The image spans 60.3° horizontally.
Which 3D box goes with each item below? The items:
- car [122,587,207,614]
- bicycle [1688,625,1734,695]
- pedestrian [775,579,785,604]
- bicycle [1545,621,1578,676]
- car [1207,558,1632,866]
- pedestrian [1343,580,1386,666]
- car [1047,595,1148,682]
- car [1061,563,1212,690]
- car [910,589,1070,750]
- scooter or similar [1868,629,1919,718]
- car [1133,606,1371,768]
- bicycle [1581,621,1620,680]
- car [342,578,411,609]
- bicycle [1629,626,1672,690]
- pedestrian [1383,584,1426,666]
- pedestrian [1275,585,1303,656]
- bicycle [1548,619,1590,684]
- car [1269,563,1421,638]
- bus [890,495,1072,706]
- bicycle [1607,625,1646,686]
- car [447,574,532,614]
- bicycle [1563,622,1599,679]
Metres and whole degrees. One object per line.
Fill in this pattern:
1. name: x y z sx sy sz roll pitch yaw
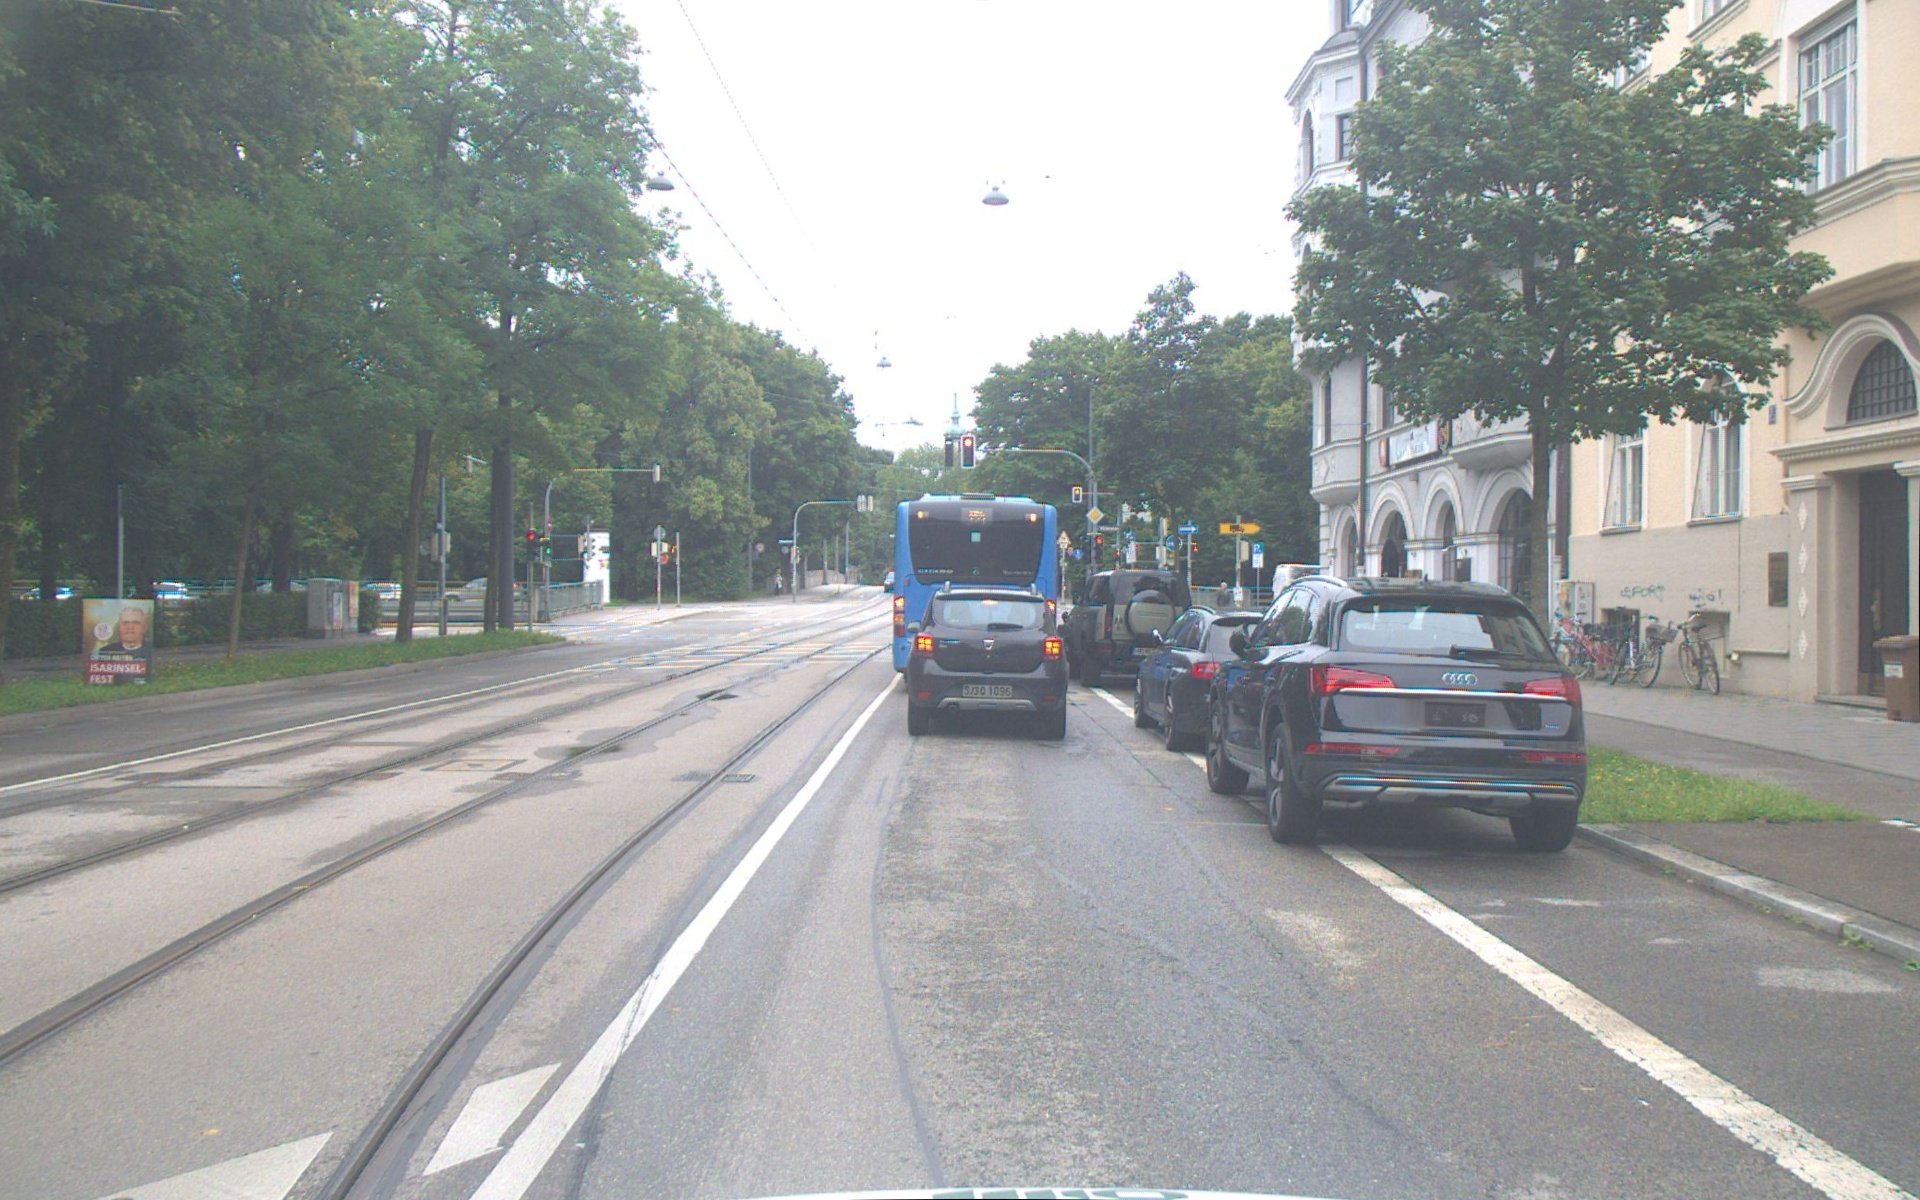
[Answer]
1. car: -40.446 0.030 84.154 3.655 1.206 1.249 2 0 -5
2. bicycle: 10.588 0.842 23.323 0.217 0.947 0.885 2 0 -1
3. pedestrian: -11.214 -0.552 103.099 0.520 1.527 0.588 2 0 5
4. bicycle: 10.703 0.860 29.456 0.254 0.947 0.886 2 0 1
5. car: 2.918 0.633 11.541 1.738 1.687 4.488 1 0 1
6. pedestrian: 8.941 0.498 36.581 0.690 1.848 0.870 2 0 0
7. car: 2.764 0.754 33.998 1.679 1.619 4.327 2 0 0
8. car: 2.920 0.417 28.354 1.875 1.939 4.806 2 0 -2
9. car: 0.295 0.708 18.516 1.568 1.584 3.525 2 0 0
10. scooter or similar: 10.658 0.820 18.537 0.648 0.963 0.547 2 0 1
11. car: 2.956 0.820 17.684 1.681 1.451 4.602 2 0 0
12. bicycle: 10.667 0.836 27.558 0.299 0.947 0.886 2 0 2
13. car: -29.874 -0.329 84.755 3.049 1.477 1.249 2 0 -5
14. bicycle: 10.542 0.875 25.251 0.279 0.947 0.886 2 0 1
15. pedestrian: 9.834 0.551 36.604 0.690 1.762 0.843 2 0 0
16. pedestrian: 9.635 0.606 48.457 0.658 2.049 0.716 2 0 4
17. bicycle: 10.284 0.854 27.930 0.237 1.057 1.223 2 0 0
18. car: 14.703 0.019 63.329 5.190 2.658 2.229 2 0 -3
19. bus: 0.228 0.015 28.069 2.625 3.050 6.958 2 0 -2
20. bicycle: 10.690 0.883 26.538 0.267 0.947 0.886 2 0 1
21. car: -24.139 -0.289 84.983 3.945 1.920 1.488 2 0 -7
22. bicycle: 10.702 0.863 28.519 0.284 0.947 0.886 2 0 1
